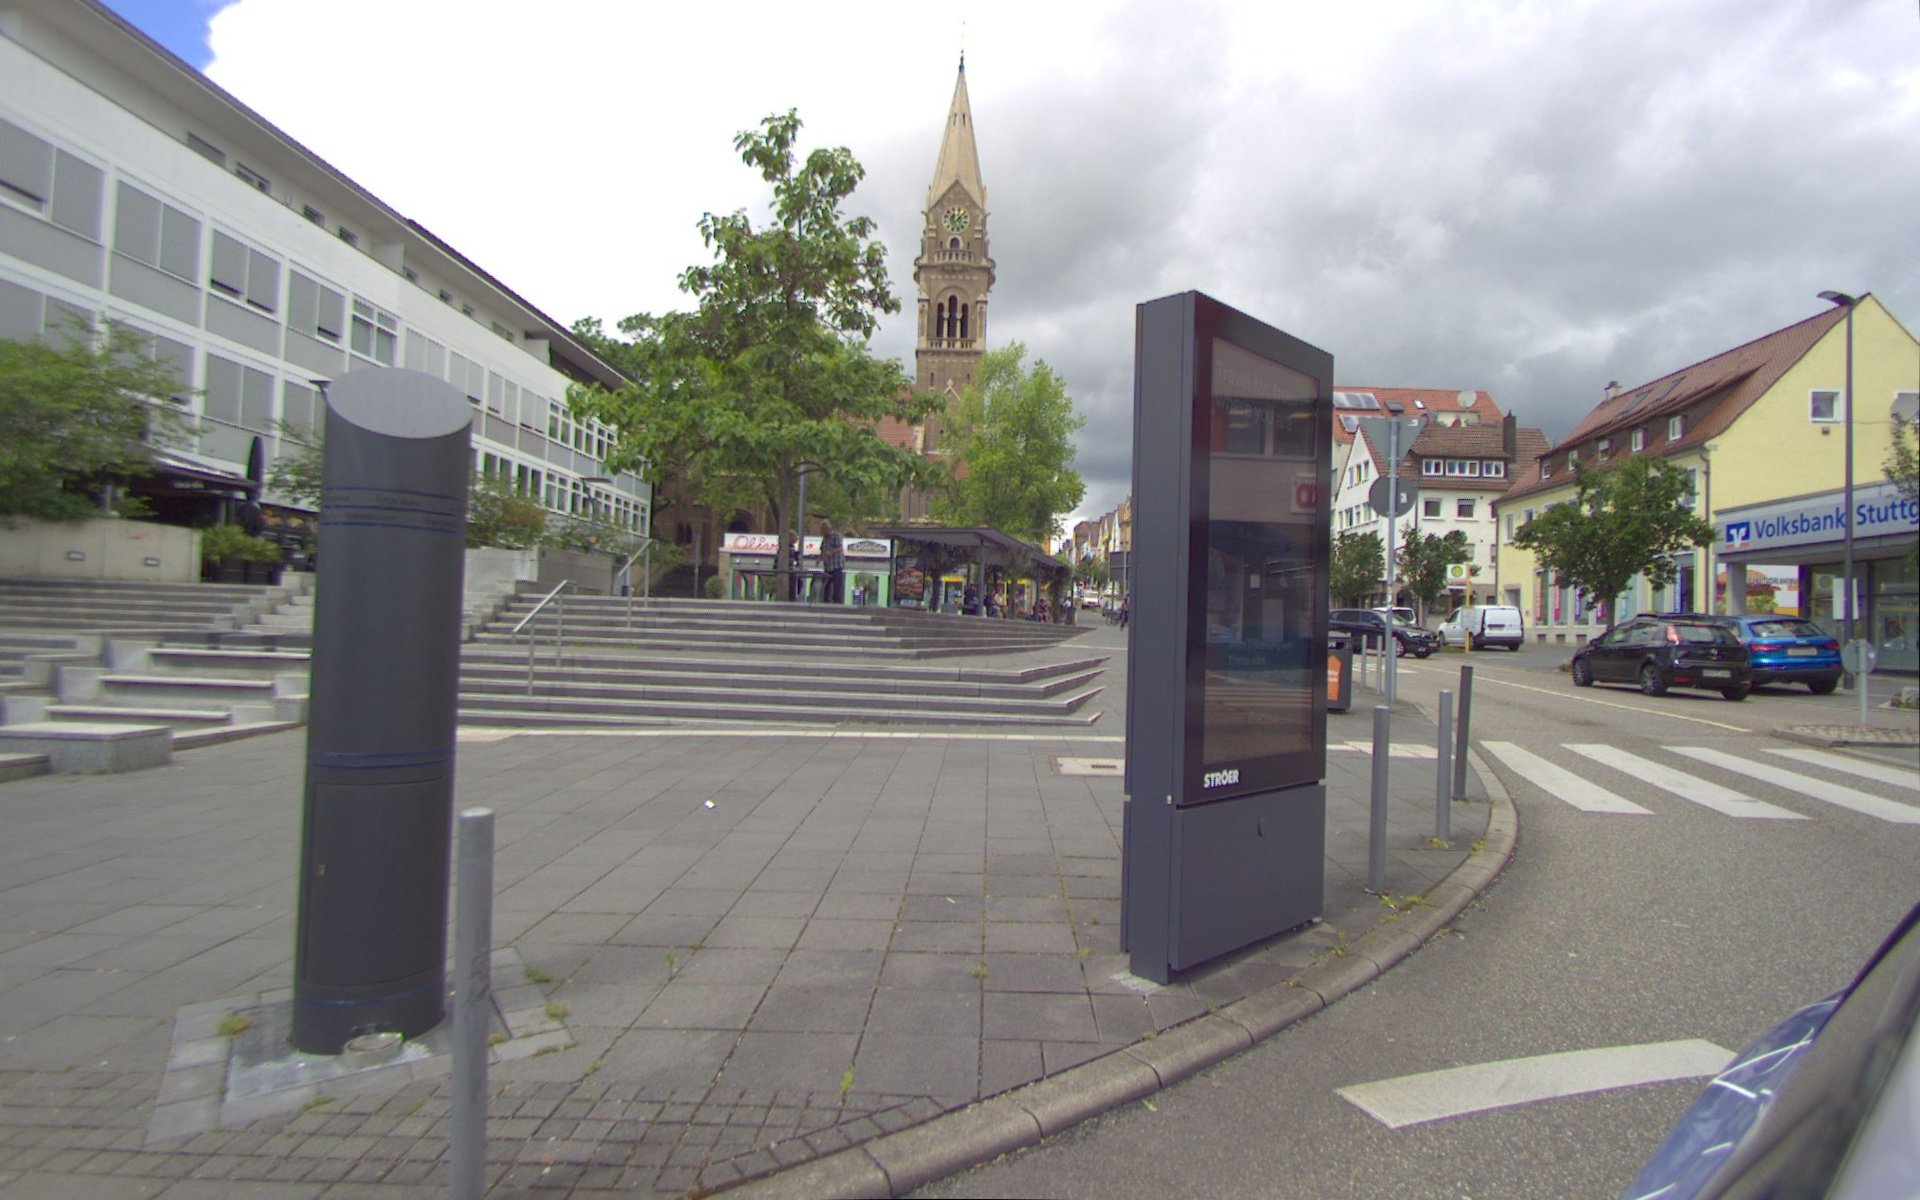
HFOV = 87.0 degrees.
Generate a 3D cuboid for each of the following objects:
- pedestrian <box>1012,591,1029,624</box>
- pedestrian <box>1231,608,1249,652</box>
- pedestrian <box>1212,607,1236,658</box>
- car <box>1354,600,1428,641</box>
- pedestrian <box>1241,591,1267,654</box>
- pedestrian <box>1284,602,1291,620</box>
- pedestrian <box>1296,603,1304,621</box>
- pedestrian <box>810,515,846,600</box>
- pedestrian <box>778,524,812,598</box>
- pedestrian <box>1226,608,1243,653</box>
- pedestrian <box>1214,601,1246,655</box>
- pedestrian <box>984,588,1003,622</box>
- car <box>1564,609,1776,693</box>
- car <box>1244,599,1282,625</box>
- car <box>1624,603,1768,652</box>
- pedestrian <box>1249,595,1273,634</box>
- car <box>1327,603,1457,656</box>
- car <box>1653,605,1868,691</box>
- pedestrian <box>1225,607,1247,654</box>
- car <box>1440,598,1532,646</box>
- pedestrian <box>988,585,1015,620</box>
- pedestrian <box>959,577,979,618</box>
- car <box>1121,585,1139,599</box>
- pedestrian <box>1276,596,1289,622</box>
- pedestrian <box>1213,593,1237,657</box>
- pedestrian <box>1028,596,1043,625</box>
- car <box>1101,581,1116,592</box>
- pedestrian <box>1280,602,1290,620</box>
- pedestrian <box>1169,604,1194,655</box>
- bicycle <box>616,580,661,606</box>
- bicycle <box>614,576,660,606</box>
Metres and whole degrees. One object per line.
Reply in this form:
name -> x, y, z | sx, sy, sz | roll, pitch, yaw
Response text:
pedestrian -> 2.514, 0.304, 42.053 | 0.616, 1.324, 0.544 | 2, -1, 11
pedestrian -> 7.573, 0.802, 27.399 | 0.287, 1.166, 0.298 | 4, 0, -33
pedestrian -> 6.293, 0.769, 24.151 | 0.470, 1.187, 0.388 | 3, 0, 17
car -> 19.189, 0.868, 45.235 | 1.631, 1.693, 4.347 | 0, 0, 3
pedestrian -> 7.876, 0.594, 27.101 | 0.460, 1.640, 0.388 | 4, 0, -35
pedestrian -> 24.622, 0.833, 76.081 | 0.414, 1.316, 0.454 | 1, 0, 2
pedestrian -> 25.523, 0.897, 75.989 | 0.420, 1.265, 0.566 | 1, 0, 2
pedestrian -> -2.415, -0.774, 18.510 | 0.448, 1.528, 0.501 | 2, -1, 15
pedestrian -> -3.016, -0.701, 18.494 | 0.358, 1.302, 0.639 | 2, -1, 12
pedestrian -> 7.321, 0.806, 27.031 | 0.259, 1.175, 0.271 | 4, 0, -31
pedestrian -> 6.871, 0.707, 25.774 | 0.424, 1.320, 0.600 | 3, 1, -26
pedestrian -> 1.230, 0.171, 37.136 | 0.561, 1.243, 0.563 | 1, -1, 17
car -> 14.072, 0.936, 20.374 | 1.674, 1.437, 4.112 | 0, 0, 6
car -> 20.667, 0.818, 69.127 | 1.641, 1.667, 4.129 | 0, 1, 4
car -> 24.918, 0.906, 34.350 | 3.576, 1.578, 1.666 | 1, 0, 6
pedestrian -> 13.604, 0.656, 45.724 | 0.700, 1.703, 0.687 | 2, 0, -31
car -> 14.936, 0.979, 35.164 | 1.859, 1.543, 3.738 | -1, 2, -33
car -> 16.955, 0.946, 21.747 | 1.672, 1.620, 4.320 | -1, 0, 9
pedestrian -> 7.171, 0.790, 26.262 | 0.329, 1.181, 0.352 | 3, 1, -24
car -> 21.588, 0.850, 41.746 | 1.730, 1.837, 4.471 | 0, 0, 4
pedestrian -> 1.576, 0.088, 38.066 | 0.767, 1.285, 0.667 | 0, -1, 38
pedestrian -> 0.307, -0.085, 34.178 | 0.561, 1.340, 0.542 | 1, -1, 17
car -> 21.964, -1.046, 130.553 | 1.701, 1.700, 3.992 | 1, 2, 1
pedestrian -> 22.916, 0.616, 71.877 | 0.650, 1.783, 0.777 | 1, 1, 5
pedestrian -> 6.532, 0.605, 24.958 | 0.383, 1.536, 0.390 | 3, 0, -5
pedestrian -> 3.444, 0.487, 45.968 | 0.561, 1.278, 0.539 | 2, -3, 11
car -> 21.809, -1.985, 148.405 | 1.660, 1.543, 3.529 | 2, 2, 1
pedestrian -> 24.835, 0.840, 77.394 | 0.541, 1.283, 0.598 | 1, 1, 2
pedestrian -> 5.356, 0.710, 24.494 | 0.388, 1.213, 0.505 | 3, 0, 32
bicycle -> -16.181, -0.334, 50.915 | 1.985, 1.157, 0.689 | 5, -2, -26
bicycle -> -15.870, -0.423, 49.688 | 1.985, 1.324, 0.689 | 4, -1, -26
